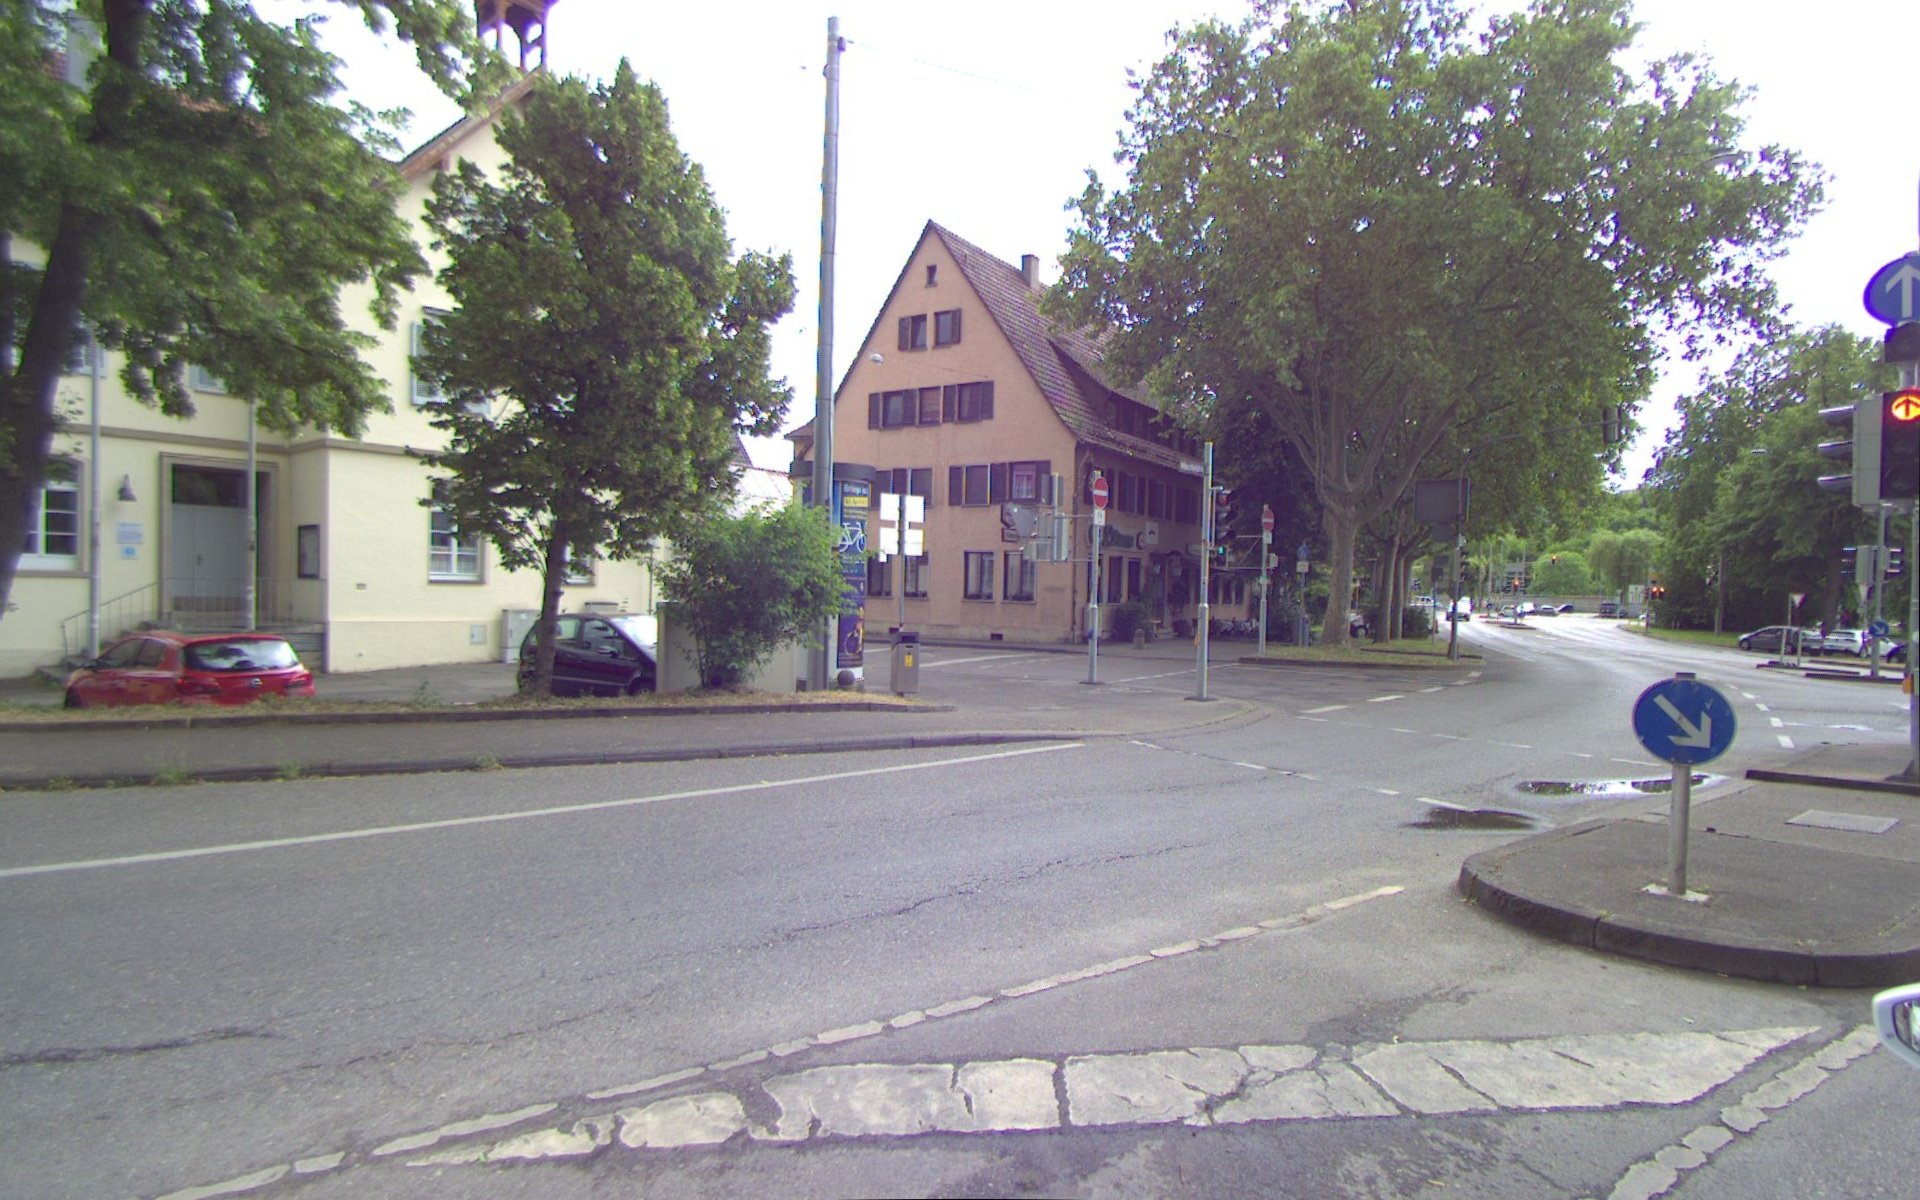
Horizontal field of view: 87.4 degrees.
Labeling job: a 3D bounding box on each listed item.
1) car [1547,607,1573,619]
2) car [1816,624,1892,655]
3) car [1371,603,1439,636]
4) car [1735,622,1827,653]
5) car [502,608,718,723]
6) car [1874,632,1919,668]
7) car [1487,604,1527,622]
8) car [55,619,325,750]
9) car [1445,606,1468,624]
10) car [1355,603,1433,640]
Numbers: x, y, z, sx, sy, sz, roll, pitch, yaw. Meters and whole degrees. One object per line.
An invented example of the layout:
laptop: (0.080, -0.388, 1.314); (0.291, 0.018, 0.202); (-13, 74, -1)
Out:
car: (108.223, 2.315, 181.091); (3.928, 2.040, 1.996); (2, 0, 30)
car: (47.301, 2.081, 53.158); (3.342, 1.484, 1.543); (2, 0, -19)
car: (25.469, 1.085, 57.464); (3.387, 1.765, 1.570); (2, 0, 28)
car: (43.863, 1.968, 53.758); (1.559, 1.484, 3.543); (2, 0, -17)
car: (-5.763, 1.006, 16.589); (3.035, 1.654, 1.607); (2, 0, 22)
car: (39.569, 2.077, 40.942); (1.442, 1.412, 3.596); (2, 0, 3)
car: (68.024, 1.603, 124.922); (1.852, 2.040, 3.946); (2, 0, -45)
car: (-10.174, 1.013, 13.241); (3.492, 1.397, 1.605); (2, 0, 30)
car: (41.628, 1.256, 84.237); (1.404, 1.435, 2.872); (1, -1, 19)
car: (21.408, 1.047, 49.580); (3.387, 1.663, 1.570); (2, 0, 28)
